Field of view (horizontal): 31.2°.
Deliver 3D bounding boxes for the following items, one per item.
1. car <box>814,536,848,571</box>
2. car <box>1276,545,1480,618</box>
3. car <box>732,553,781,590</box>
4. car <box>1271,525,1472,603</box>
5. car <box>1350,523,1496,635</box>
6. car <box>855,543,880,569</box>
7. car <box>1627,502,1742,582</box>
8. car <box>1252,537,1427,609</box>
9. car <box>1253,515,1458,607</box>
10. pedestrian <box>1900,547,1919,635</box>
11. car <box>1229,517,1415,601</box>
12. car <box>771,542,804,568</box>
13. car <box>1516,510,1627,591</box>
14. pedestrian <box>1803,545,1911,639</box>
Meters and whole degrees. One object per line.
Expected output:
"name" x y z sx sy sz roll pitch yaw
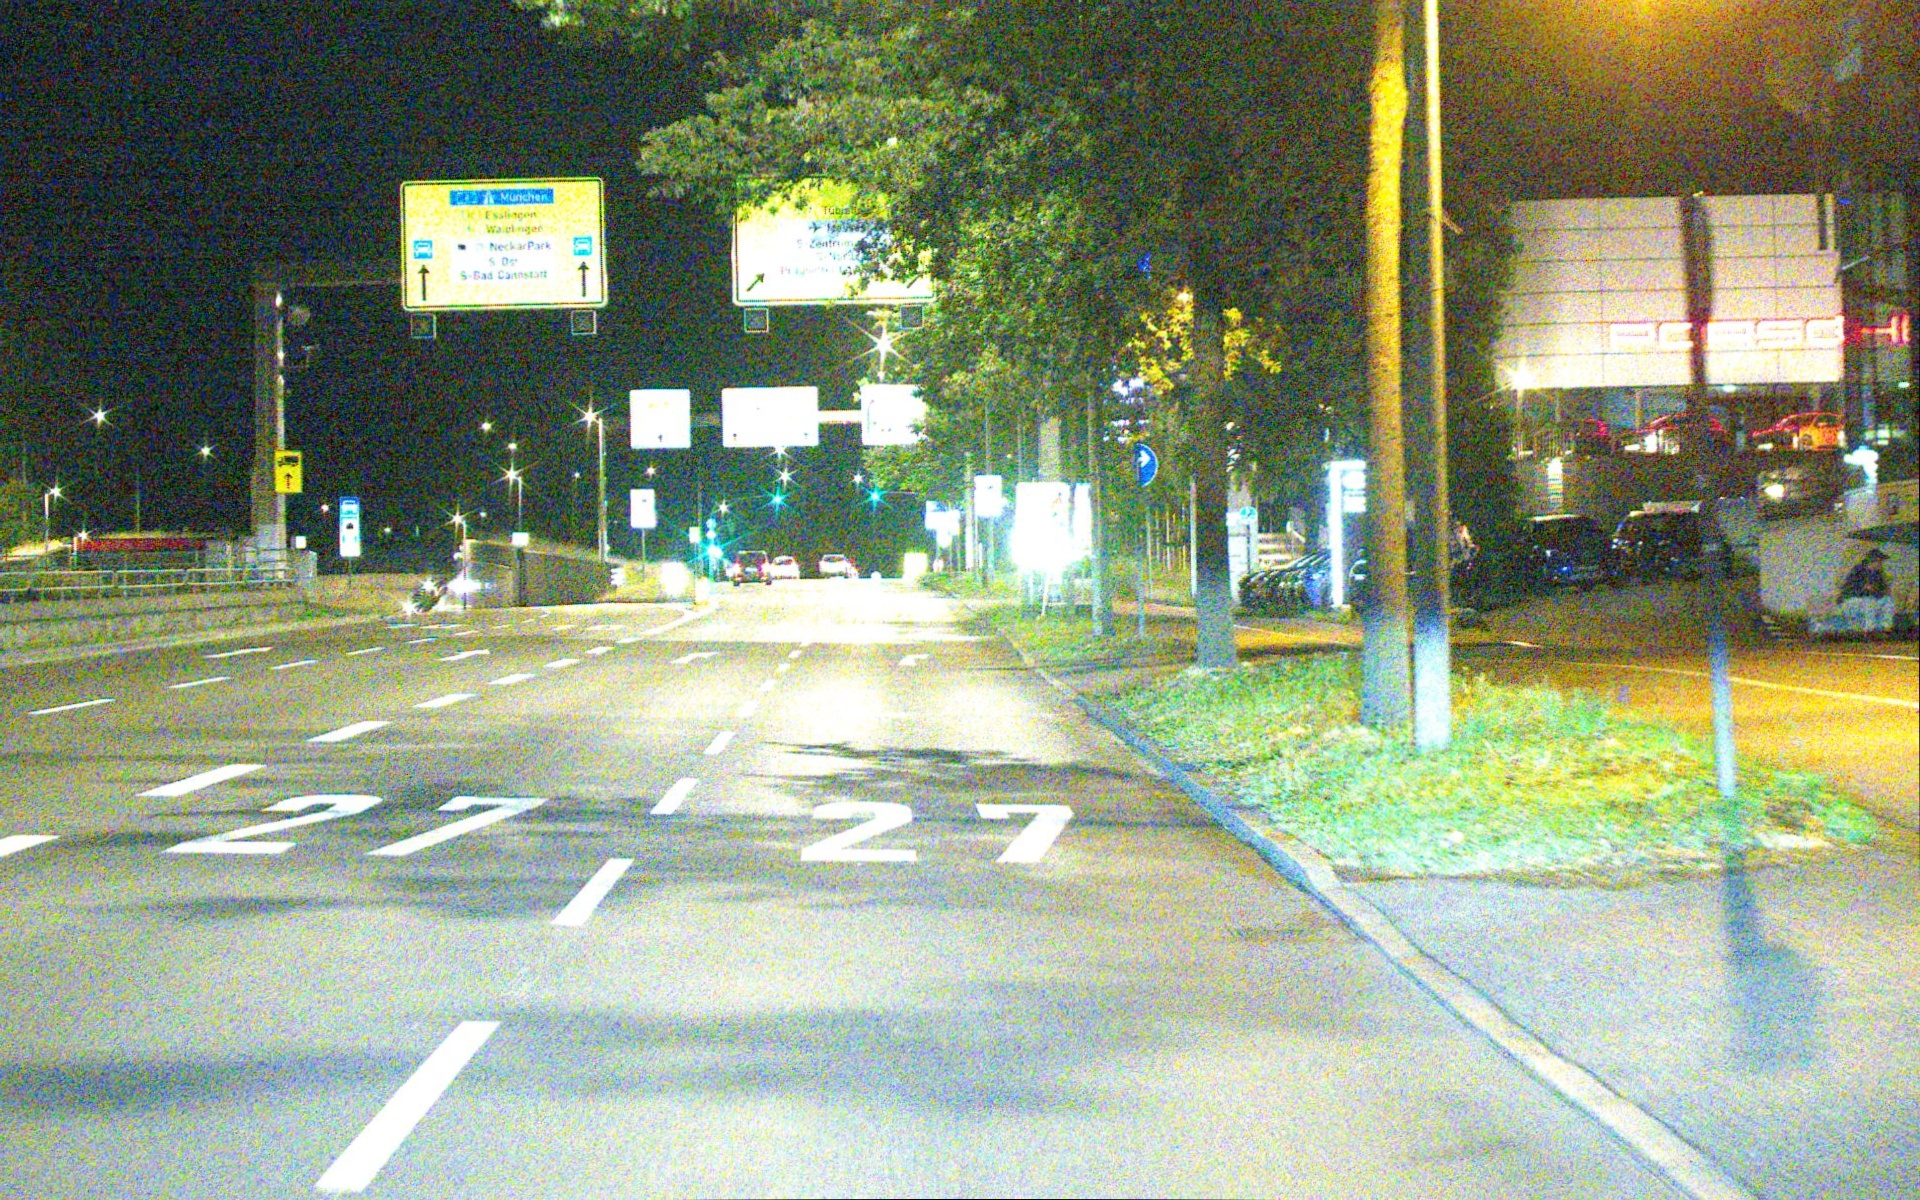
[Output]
"car" -7.882 -2.828 209.610 1.993 2.007 4.000 1 0 -1
"car" 8.421 -0.368 69.398 3.824 1.406 1.711 1 -1 -3
"car" -9.617 -1.336 162.459 1.968 1.705 4.000 1 0 1
"car" 8.000 -0.696 67.018 3.624 1.446 1.708 1 -1 -4
"car" 8.310 -0.353 61.482 1.995 1.938 3.997 0 -1 16
"car" -6.902 -3.294 256.650 1.838 1.831 4.000 1 0 -1
"car" 14.687 -1.162 69.839 1.893 1.506 3.635 0 0 6
"car" 8.231 -0.579 74.756 3.510 1.503 1.736 1 -1 -4
"car" 8.306 -0.812 72.410 3.986 1.850 1.822 1 -1 -4
"pedestrian" 11.405 -0.097 39.336 0.997 1.004 0.772 1 -1 -16
"car" 8.338 -0.932 79.424 3.986 1.850 1.822 1 -1 -4
"car" -11.286 -2.919 225.442 1.993 1.590 4.000 -1 0 -1
"car" 12.110 -0.957 68.241 1.893 1.506 3.635 0 0 6
"pedestrian" 10.261 -0.091 39.331 0.913 1.035 0.770 -1 0 43
